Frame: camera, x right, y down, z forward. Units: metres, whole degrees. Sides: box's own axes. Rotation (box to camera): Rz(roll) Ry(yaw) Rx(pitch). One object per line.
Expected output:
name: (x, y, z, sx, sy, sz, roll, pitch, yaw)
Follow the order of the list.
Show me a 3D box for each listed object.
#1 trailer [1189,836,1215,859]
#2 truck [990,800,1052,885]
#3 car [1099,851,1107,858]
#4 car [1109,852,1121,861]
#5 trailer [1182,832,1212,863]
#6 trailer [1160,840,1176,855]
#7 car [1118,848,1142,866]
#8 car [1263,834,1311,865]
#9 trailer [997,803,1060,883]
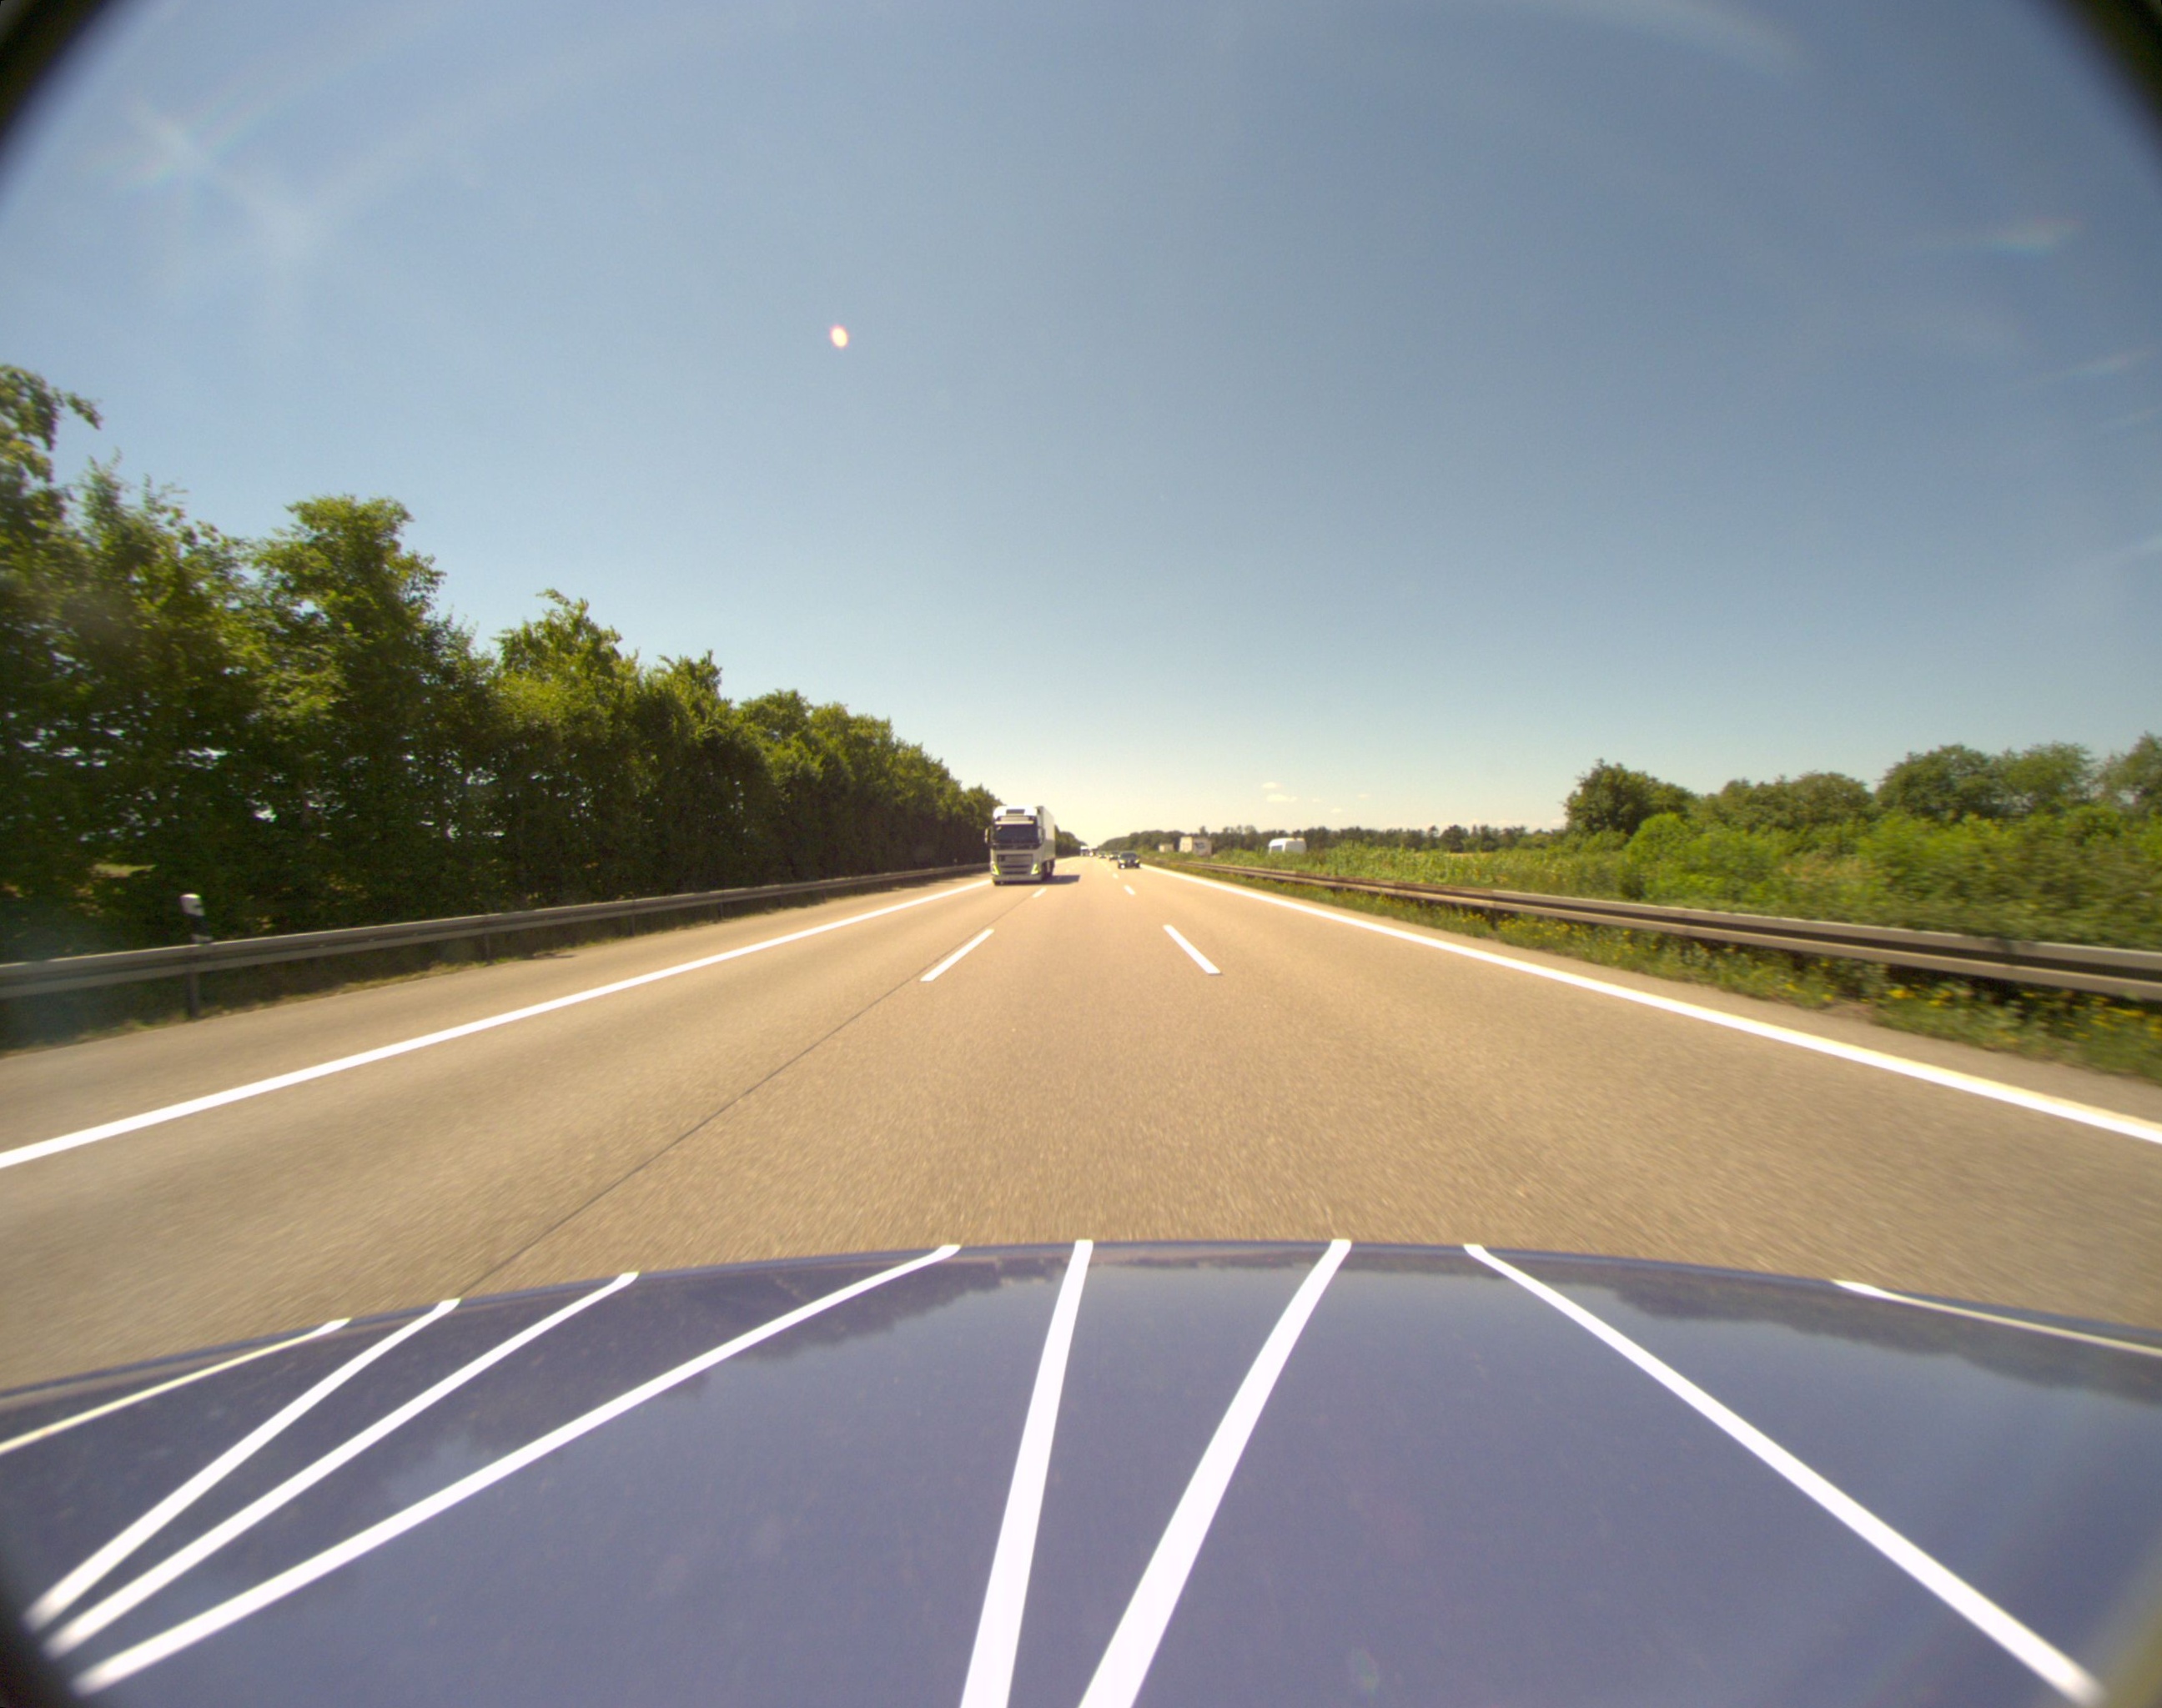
trailer: (23.043, -1.325, 145.644, 2.962, 4.035, 14.324, -2, 1, 1)
truck: (-3.039, -0.581, 40.158, 2.476, 4.039, 6.319, -2, 1, 1)
car: (5.011, 0.116, 176.160, 1.811, 1.417, 4.000, -2, 1, 1)
car: (5.523, 0.371, 123.743, 1.811, 1.417, 4.000, -2, 1, 1)
trailer: (18.716, -1.078, 123.386, 2.828, 4.500, 13.865, -2, 1, 1)
trailer: (24.564, -1.944, 215.346, 3.066, 4.035, 13.955, -2, 1, 1)
car: (4.311, 0.285, 67.296, 1.811, 1.459, 4.000, -2, 1, 1)
car: (17.022, -0.397, 63.175, 2.085, 2.380, 6.732, -2, 1, 0)
trailer: (-2.920, -0.630, 46.446, 2.476, 4.039, 13.879, -2, 1, 1)
